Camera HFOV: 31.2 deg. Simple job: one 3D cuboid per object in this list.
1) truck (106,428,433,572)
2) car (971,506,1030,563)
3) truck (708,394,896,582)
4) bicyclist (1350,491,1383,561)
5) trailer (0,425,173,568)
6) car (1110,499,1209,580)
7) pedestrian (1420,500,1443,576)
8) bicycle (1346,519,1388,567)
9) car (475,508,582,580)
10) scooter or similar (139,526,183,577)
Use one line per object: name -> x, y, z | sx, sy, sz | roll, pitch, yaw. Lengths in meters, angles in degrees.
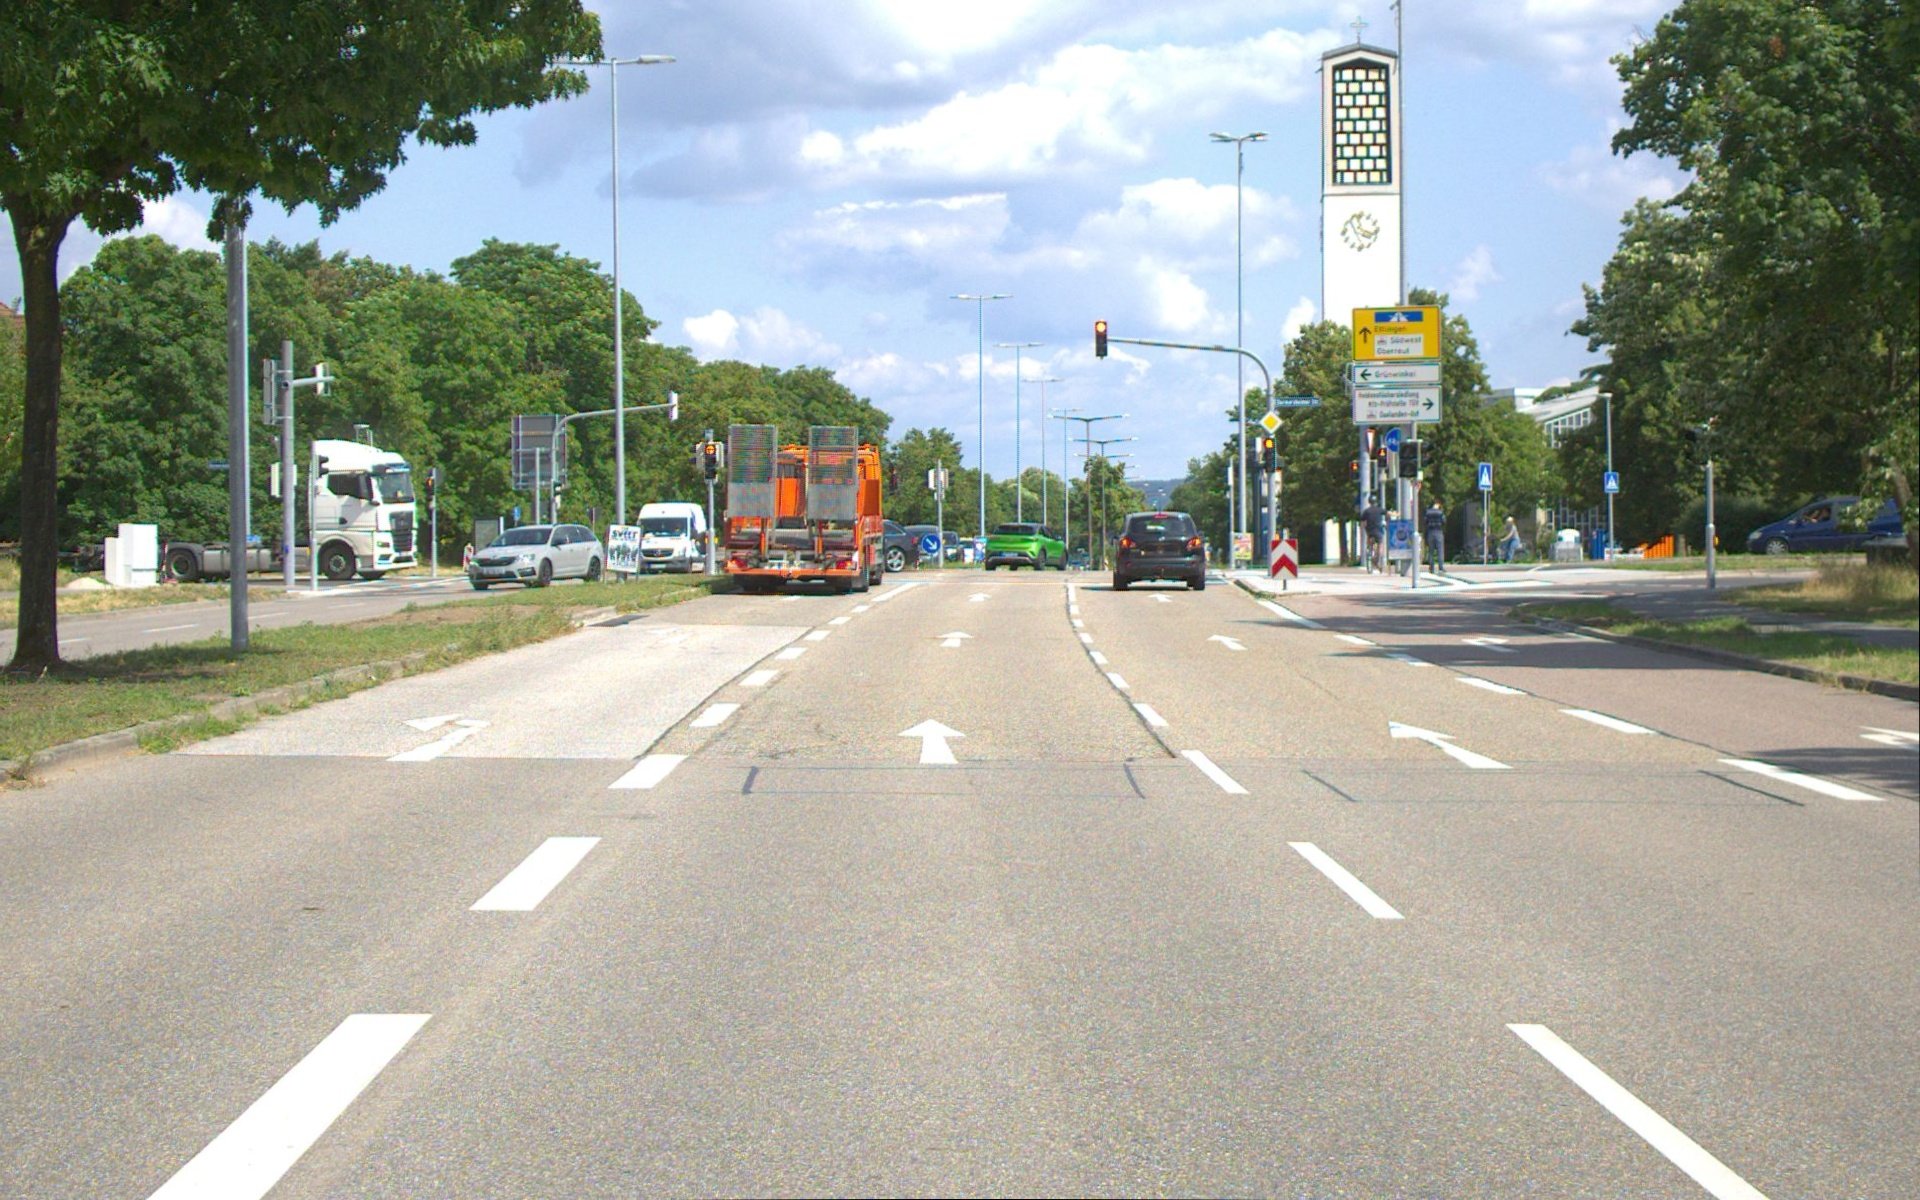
truck -> -19.456, -2.810, 96.903 | 8.616, 3.957, 2.967 | 1, 1, 17
car -> 1.232, -1.999, 105.310 | 1.740, 1.663, 3.590 | 2, 1, 1
truck -> -3.048, -2.143, 69.533 | 3.071, 3.402, 11.068 | 2, 1, 1
bicyclist -> 9.706, -1.761, 82.052 | 0.648, 1.655, 0.649 | 2, 0, 17
trailer -> -28.819, -3.004, 99.776 | 11.291, 3.998, 3.629 | 1, 1, 17
car -> 4.038, -1.214, 70.065 | 1.799, 1.547, 4.000 | 2, 1, 1
pedestrian -> 11.145, -1.458, 81.272 | 0.465, 1.772, 0.482 | 2, 0, 12
bicycle -> 9.749, -1.352, 82.242 | 0.648, 1.104, 1.926 | 2, 1, 17
car -> -9.908, -1.278, 79.227 | 1.732, 1.503, 4.653 | -4, 1, 1
scooter or similar -> -18.905, -1.146, 81.372 | 0.589, 1.159, 1.762 | 2, 1, 0
